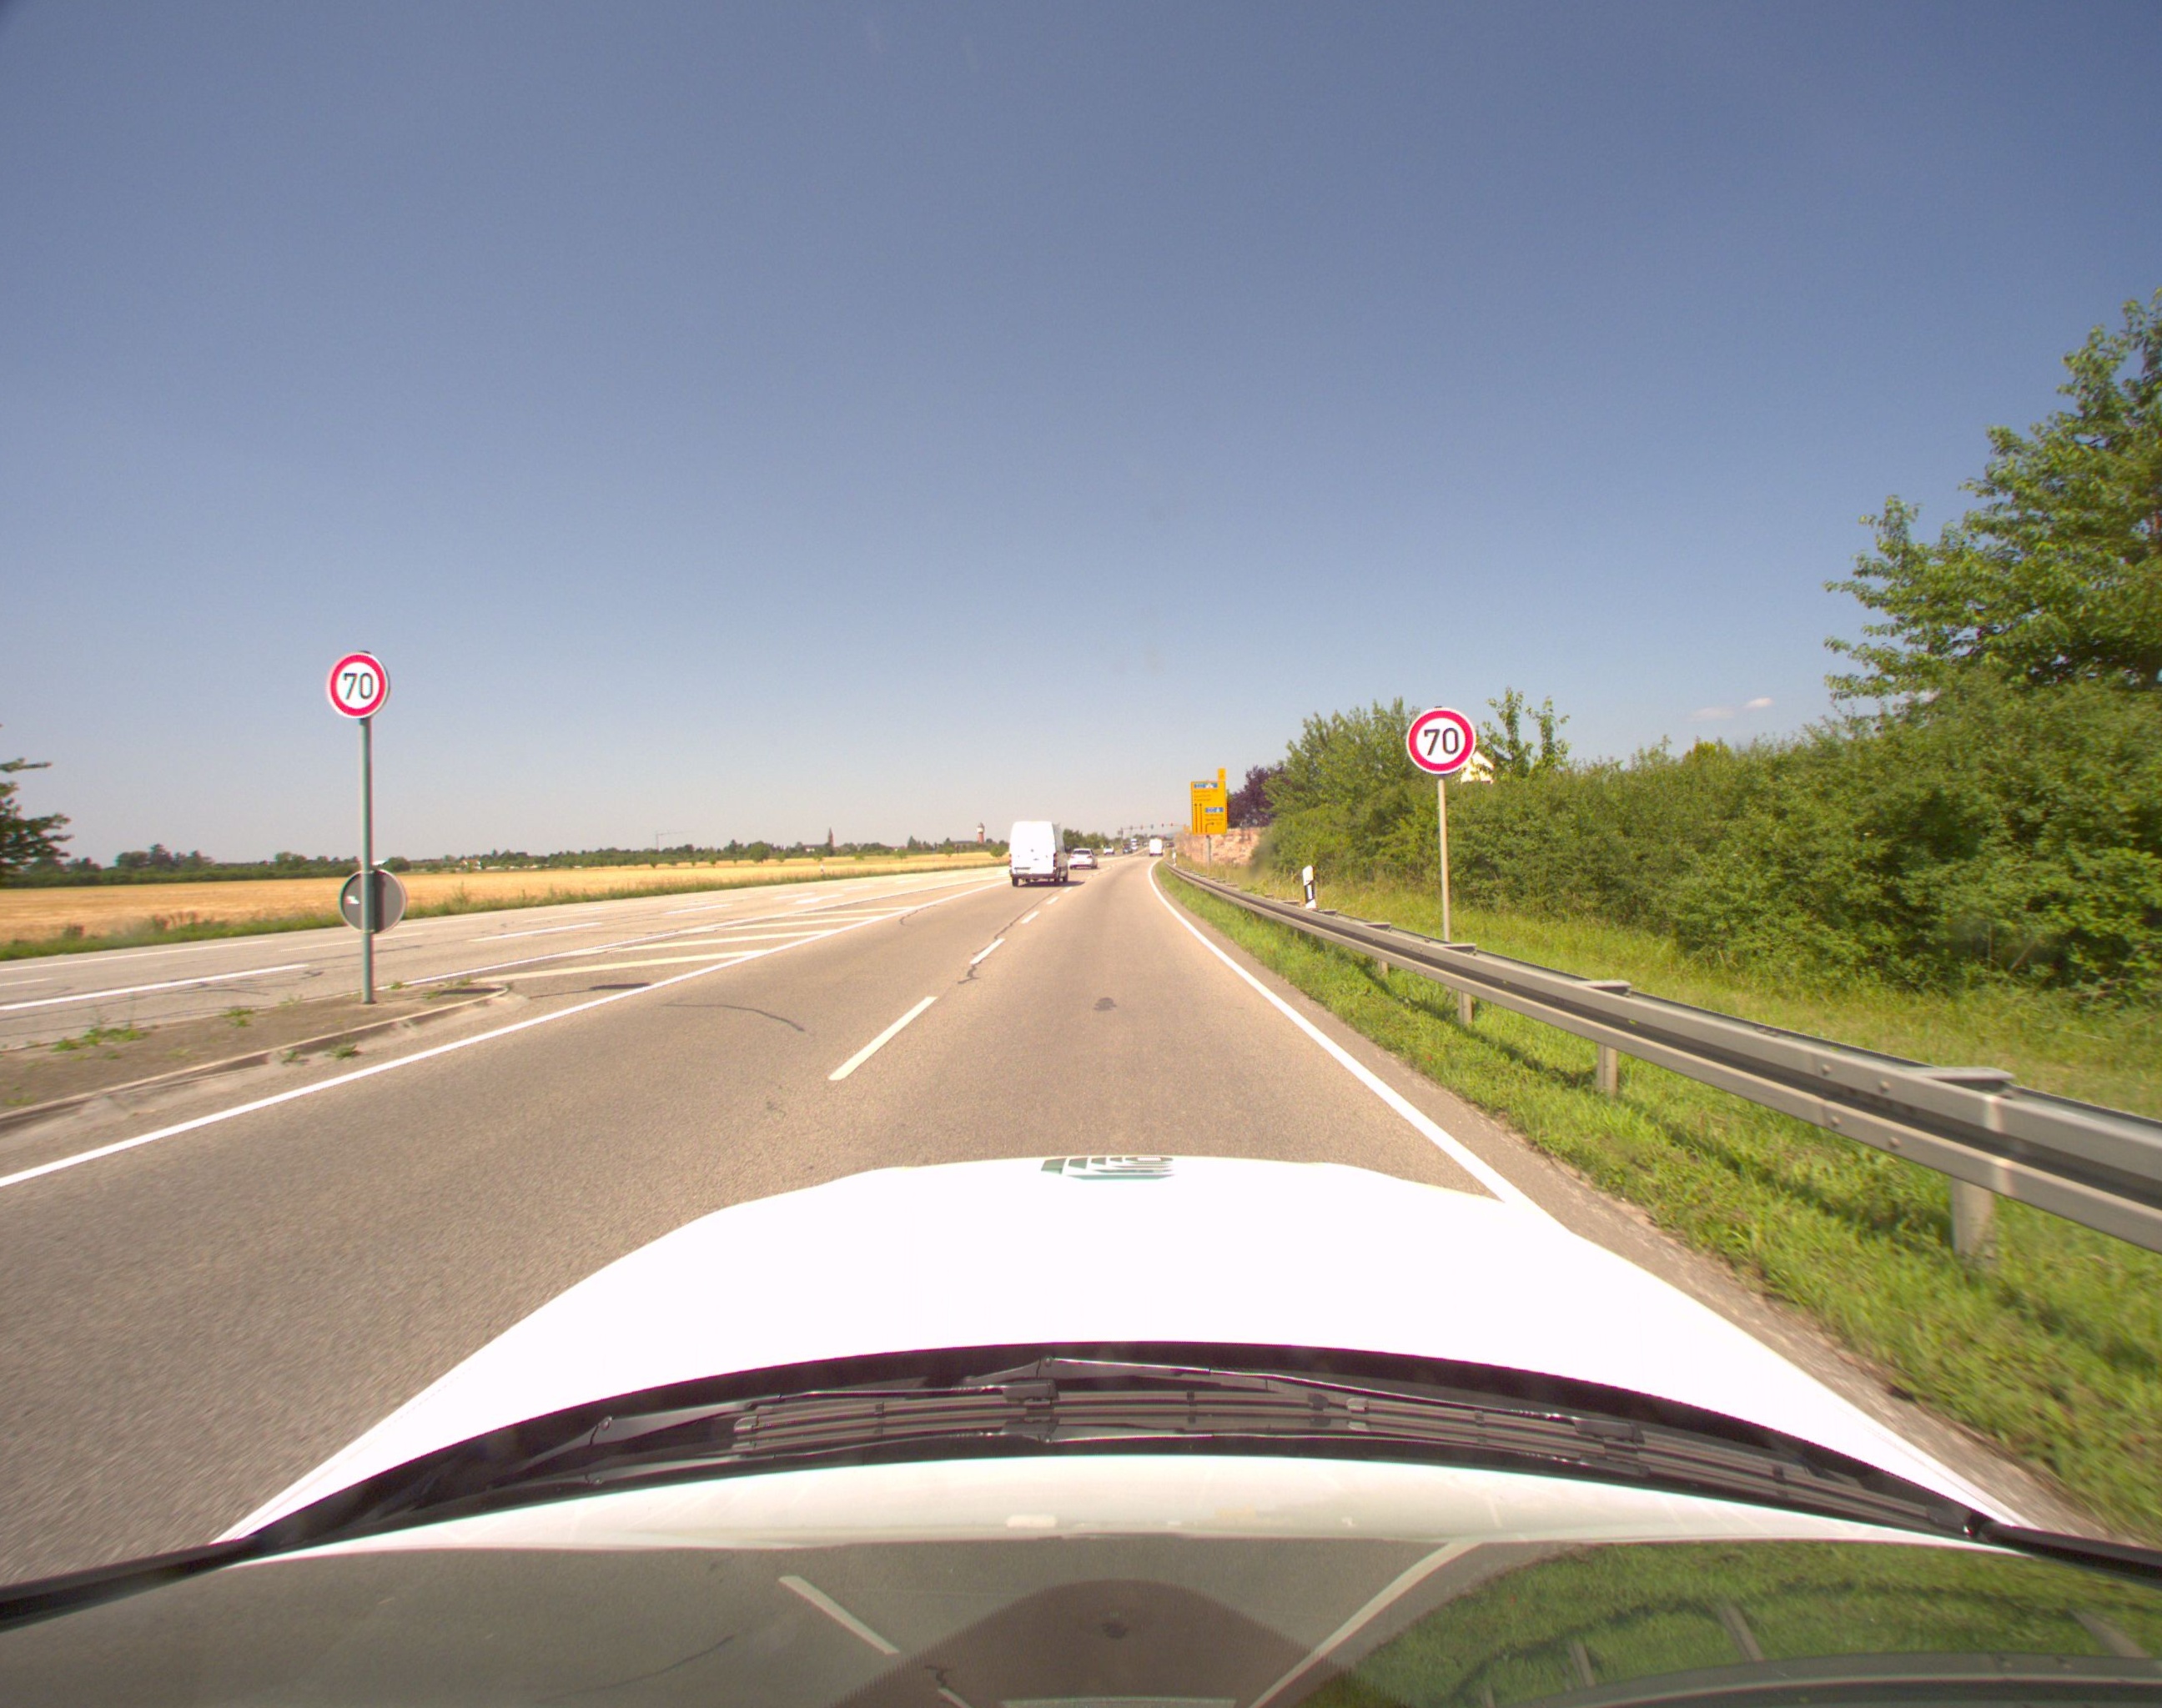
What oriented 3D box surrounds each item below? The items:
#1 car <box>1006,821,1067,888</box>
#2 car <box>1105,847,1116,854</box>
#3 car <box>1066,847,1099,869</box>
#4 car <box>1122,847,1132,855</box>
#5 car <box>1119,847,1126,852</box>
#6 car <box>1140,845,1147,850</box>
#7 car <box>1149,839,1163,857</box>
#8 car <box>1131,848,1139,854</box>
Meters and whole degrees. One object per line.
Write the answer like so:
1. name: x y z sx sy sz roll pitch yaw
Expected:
1. car: -1.795 0.004 35.085 2.031 2.620 5.745 0 0 3
2. car: 5.821 -0.686 158.248 1.740 1.442 4.090 -2 0 7
3. car: 0.143 0.273 58.551 1.790 1.508 4.204 -2 0 7
4. car: 8.924 -0.668 157.263 1.740 1.442 4.090 -2 0 7
5. car: 11.443 -1.221 224.969 1.861 1.255 4.288 -2 0 6
6. car: 19.864 -2.166 256.951 1.847 1.423 4.010 -2 0 8
7. car: 11.460 -0.888 124.471 1.983 2.695 4.979 0 -1 7
8. car: 12.837 -0.756 192.920 1.740 1.442 4.089 0 0 7
